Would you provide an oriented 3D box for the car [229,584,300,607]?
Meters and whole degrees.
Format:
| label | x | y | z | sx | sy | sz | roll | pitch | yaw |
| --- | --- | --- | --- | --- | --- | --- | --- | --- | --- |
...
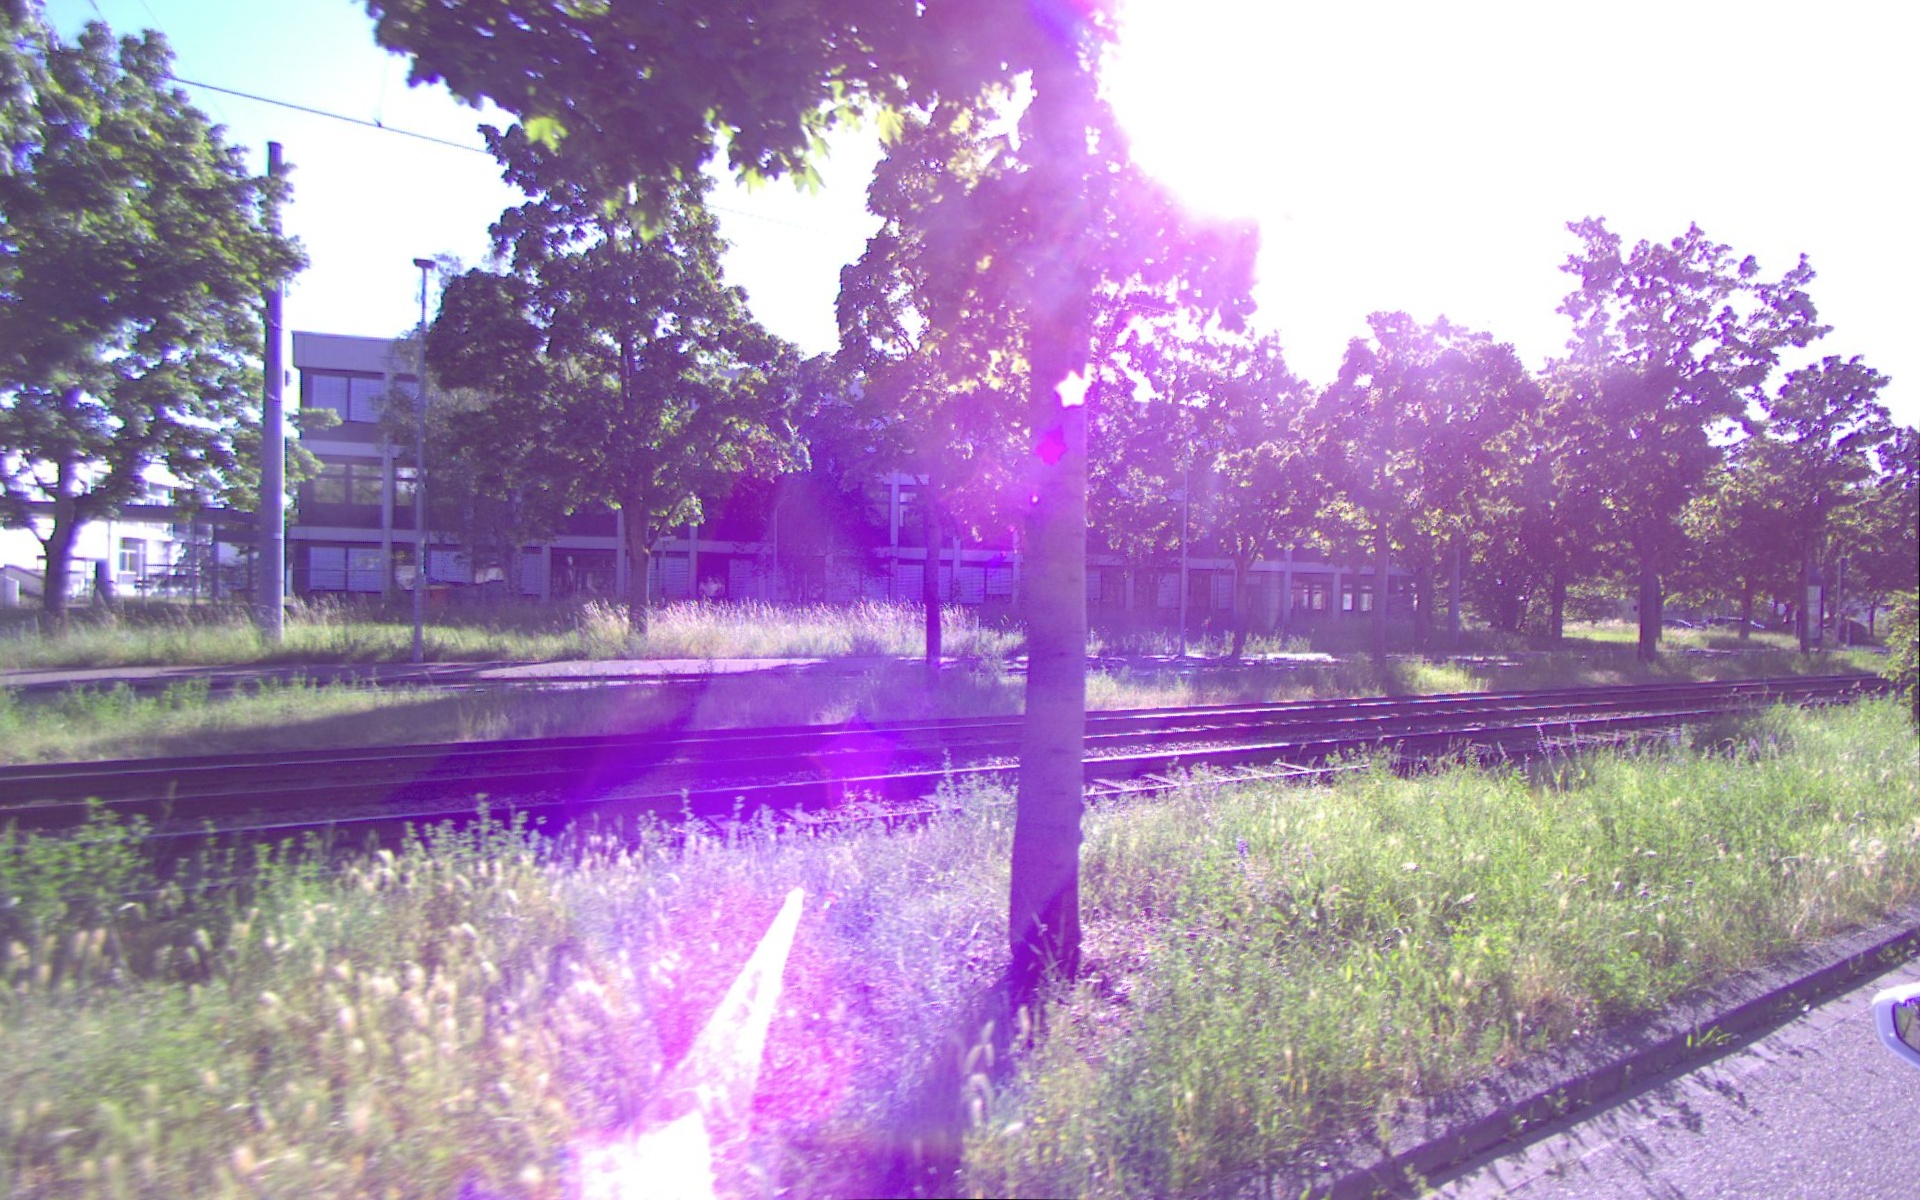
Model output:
| label | x | y | z | sx | sy | sz | roll | pitch | yaw |
| --- | --- | --- | --- | --- | --- | --- | --- | --- | --- |
| car | -41.527 | -0.299 | 60.062 | 1.815 | 1.284 | 4.539 | 1 | 0 | -12 |
